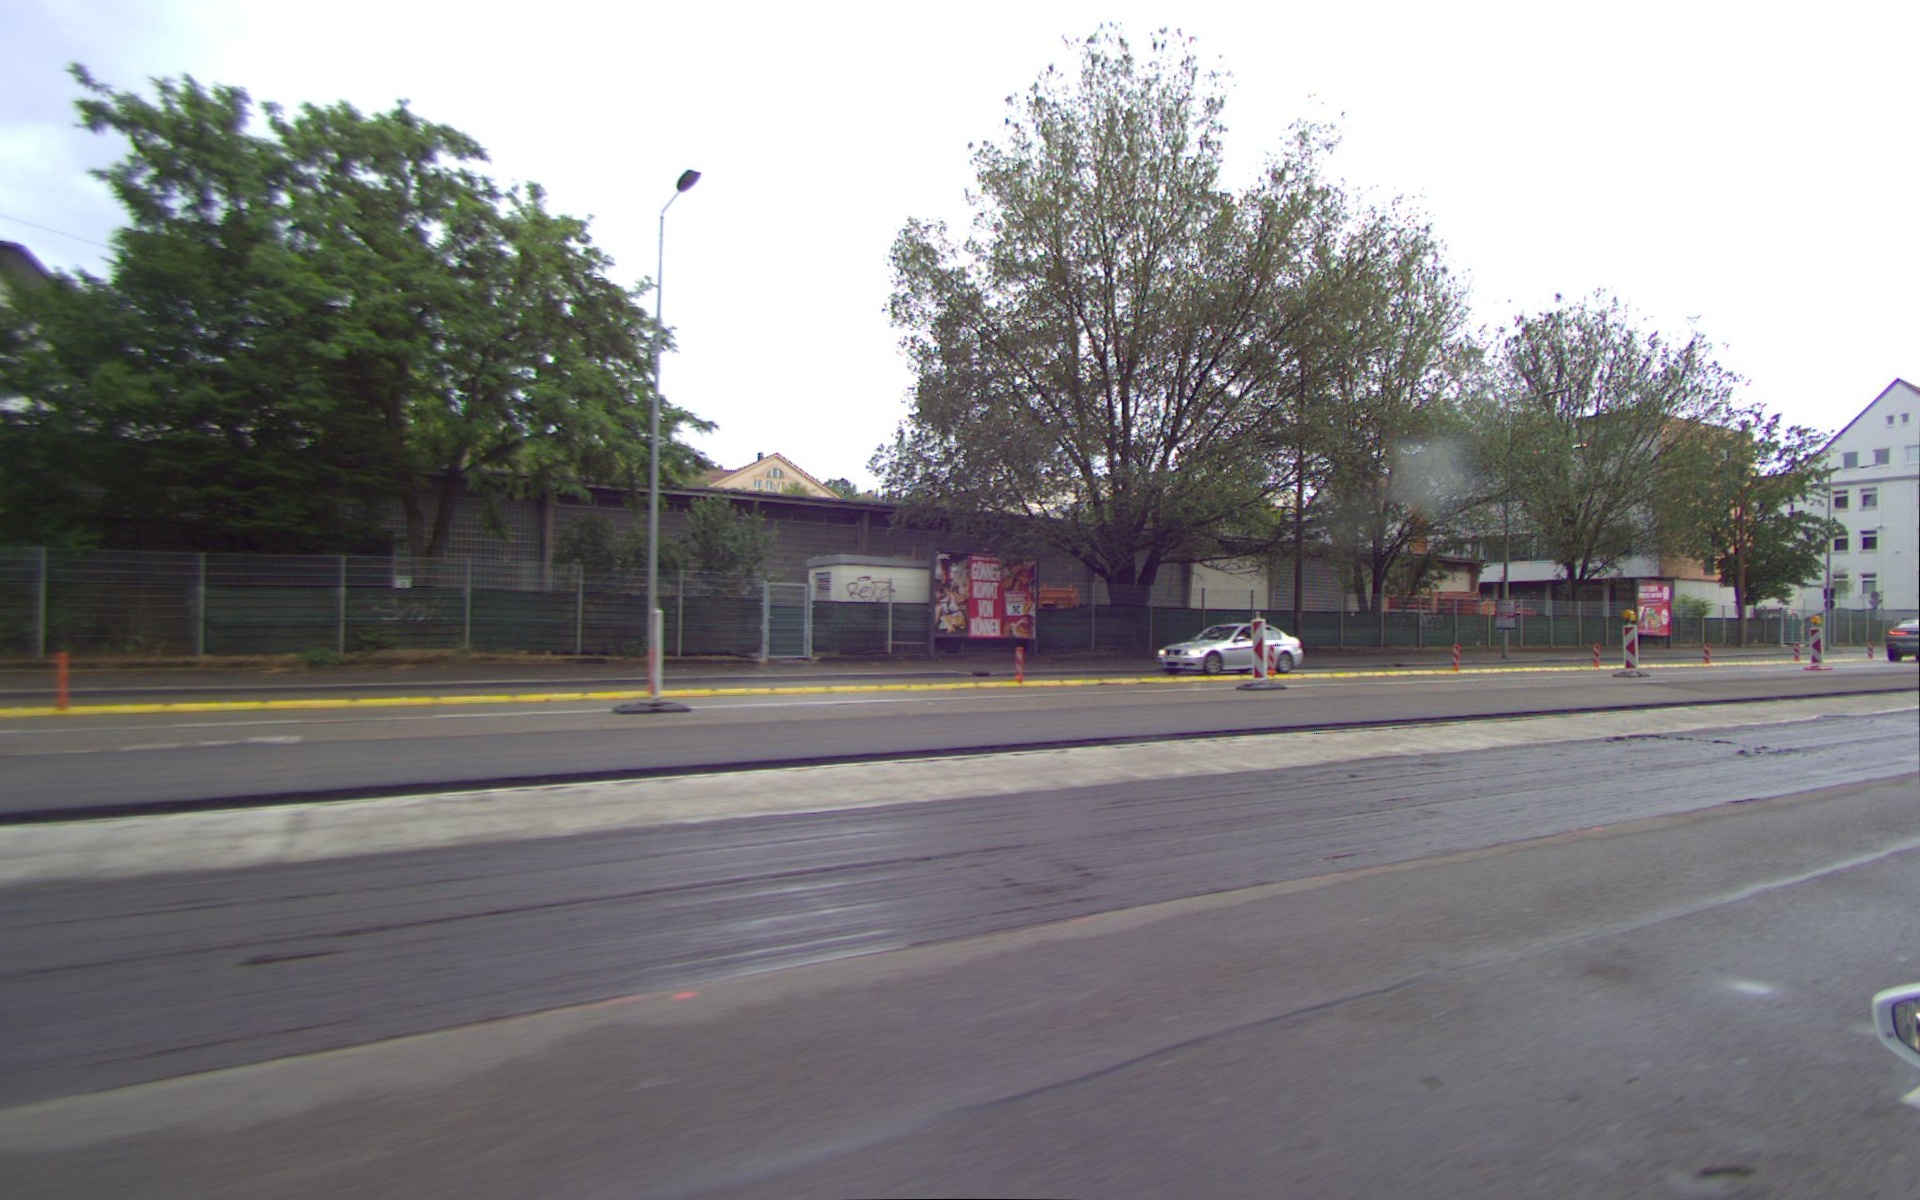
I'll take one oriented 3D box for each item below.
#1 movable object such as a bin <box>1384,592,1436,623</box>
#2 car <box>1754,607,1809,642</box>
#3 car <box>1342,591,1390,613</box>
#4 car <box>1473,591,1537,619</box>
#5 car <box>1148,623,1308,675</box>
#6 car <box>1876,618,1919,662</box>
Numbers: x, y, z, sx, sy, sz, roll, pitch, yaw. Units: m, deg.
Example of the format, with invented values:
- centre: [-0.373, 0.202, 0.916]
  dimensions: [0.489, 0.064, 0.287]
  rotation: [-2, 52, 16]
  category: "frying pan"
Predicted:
- centre: [23.527, 0.417, 52.629]
  dimensions: [1.718, 1.548, 4.026]
  rotation: [0, -1, 12]
  category: "movable object such as a bin"
- centre: [53.498, 1.584, 65.380]
  dimensions: [3.955, 2.199, 1.601]
  rotation: [1, -1, -32]
  category: "car"
- centre: [21.431, 0.101, 53.137]
  dimensions: [1.718, 1.076, 4.026]
  rotation: [0, -1, 12]
  category: "car"
- centre: [31.417, 0.315, 58.063]
  dimensions: [1.959, 1.548, 4.026]
  rotation: [0, -1, 8]
  category: "car"
- centre: [7.457, 1.352, 27.849]
  dimensions: [4.402, 1.332, 1.659]
  rotation: [1, -3, -30]
  category: "car"
- centre: [38.535, 1.600, 39.983]
  dimensions: [4.344, 1.672, 1.884]
  rotation: [1, -1, -30]
  category: "car"
